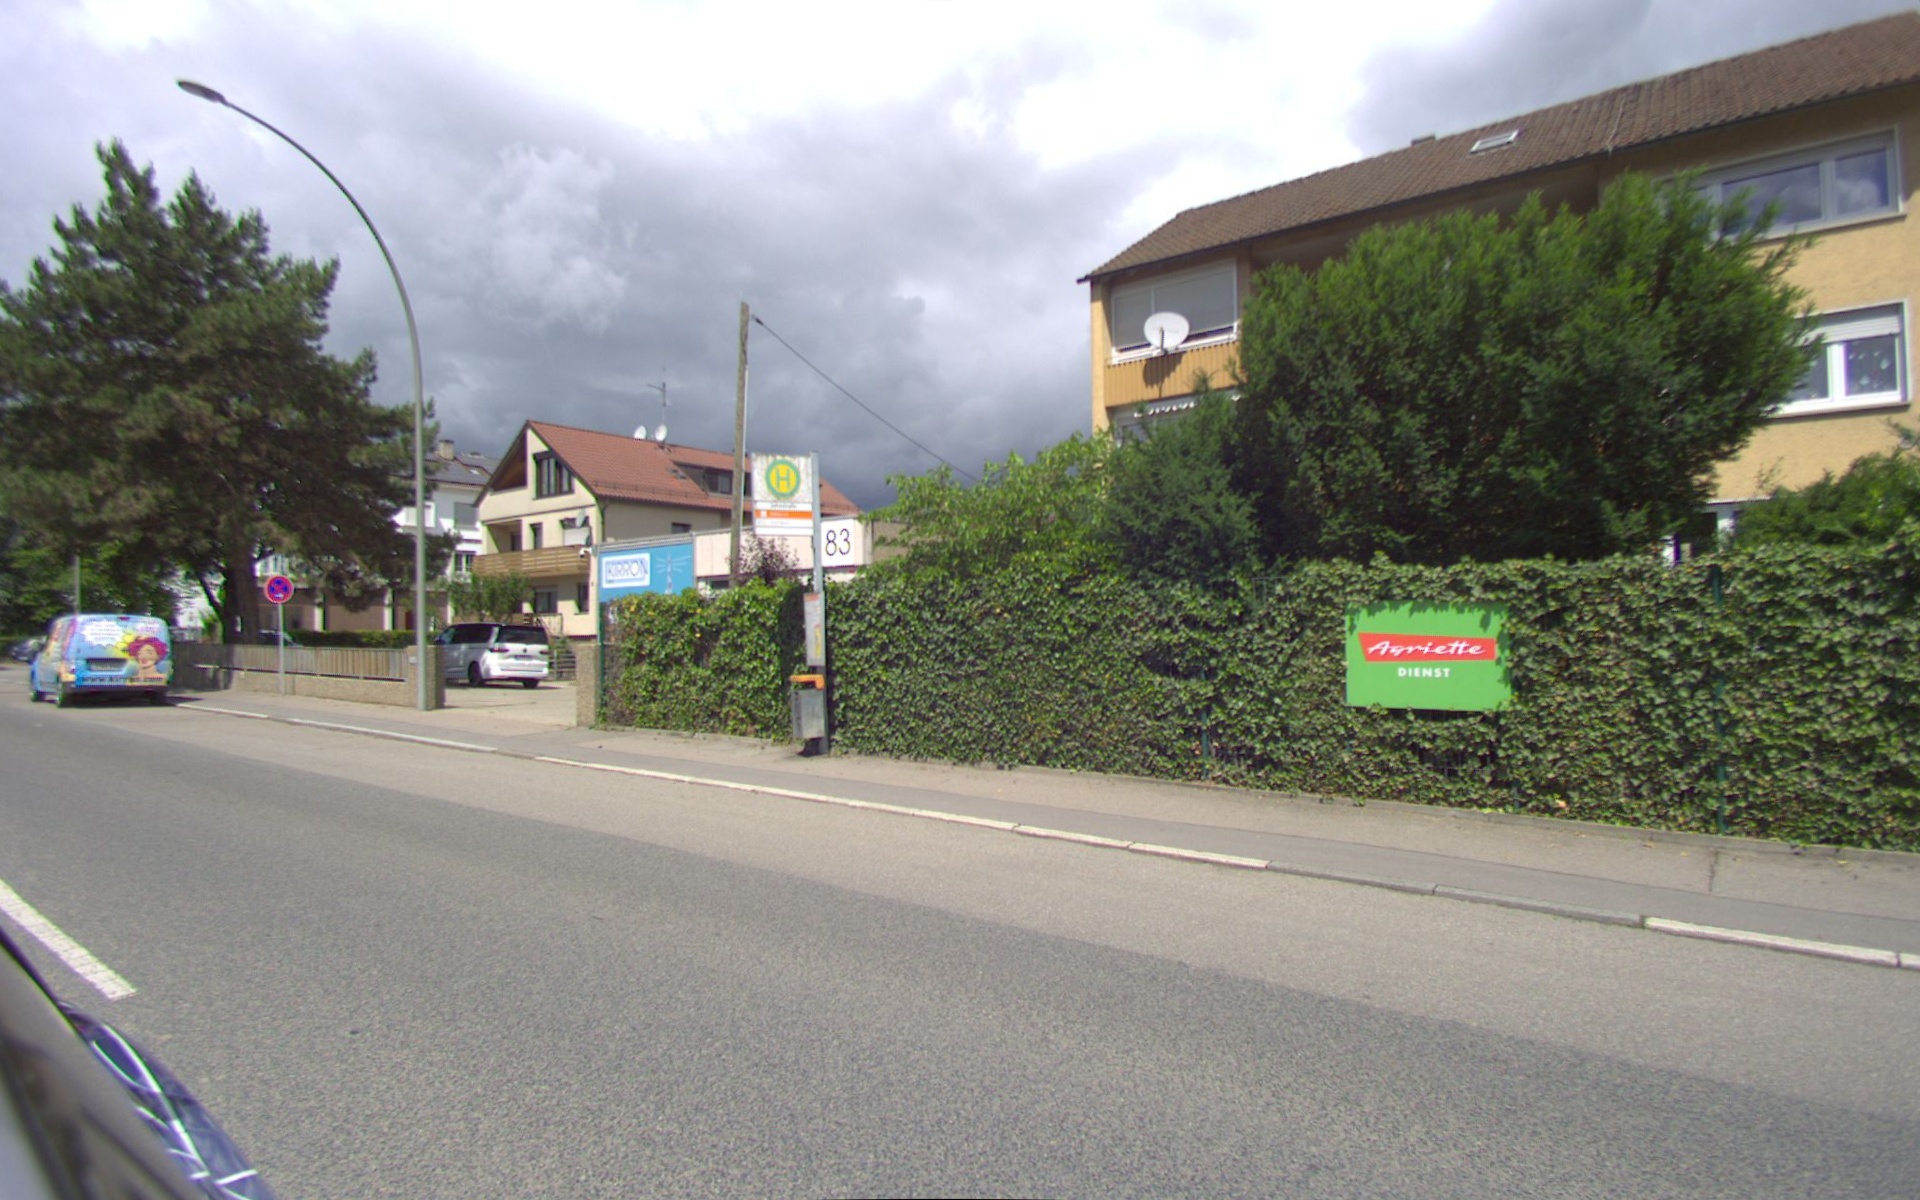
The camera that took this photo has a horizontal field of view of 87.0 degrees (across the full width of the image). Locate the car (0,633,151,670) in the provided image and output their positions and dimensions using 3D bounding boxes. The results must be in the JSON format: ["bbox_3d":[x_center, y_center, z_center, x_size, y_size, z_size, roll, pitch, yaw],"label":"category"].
[{"bbox_3d":[-40.127,2.298,45.970,1.969,1.563,4.962,-1,-2,36],"label":"car"}]

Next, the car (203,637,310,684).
[{"bbox_3d":[-24.867,2.106,35.730,4.077,1.555,1.752,-2,-3,35],"label":"car"}]

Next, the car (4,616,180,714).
[{"bbox_3d":[-18.425,1.399,21.411,4.889,1.868,1.815,-3,-6,38],"label":"car"}]

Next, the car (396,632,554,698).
[{"bbox_3d":[-14.746,1.901,30.618,5.471,1.845,2.060,-2,-3,38],"label":"car"}]
